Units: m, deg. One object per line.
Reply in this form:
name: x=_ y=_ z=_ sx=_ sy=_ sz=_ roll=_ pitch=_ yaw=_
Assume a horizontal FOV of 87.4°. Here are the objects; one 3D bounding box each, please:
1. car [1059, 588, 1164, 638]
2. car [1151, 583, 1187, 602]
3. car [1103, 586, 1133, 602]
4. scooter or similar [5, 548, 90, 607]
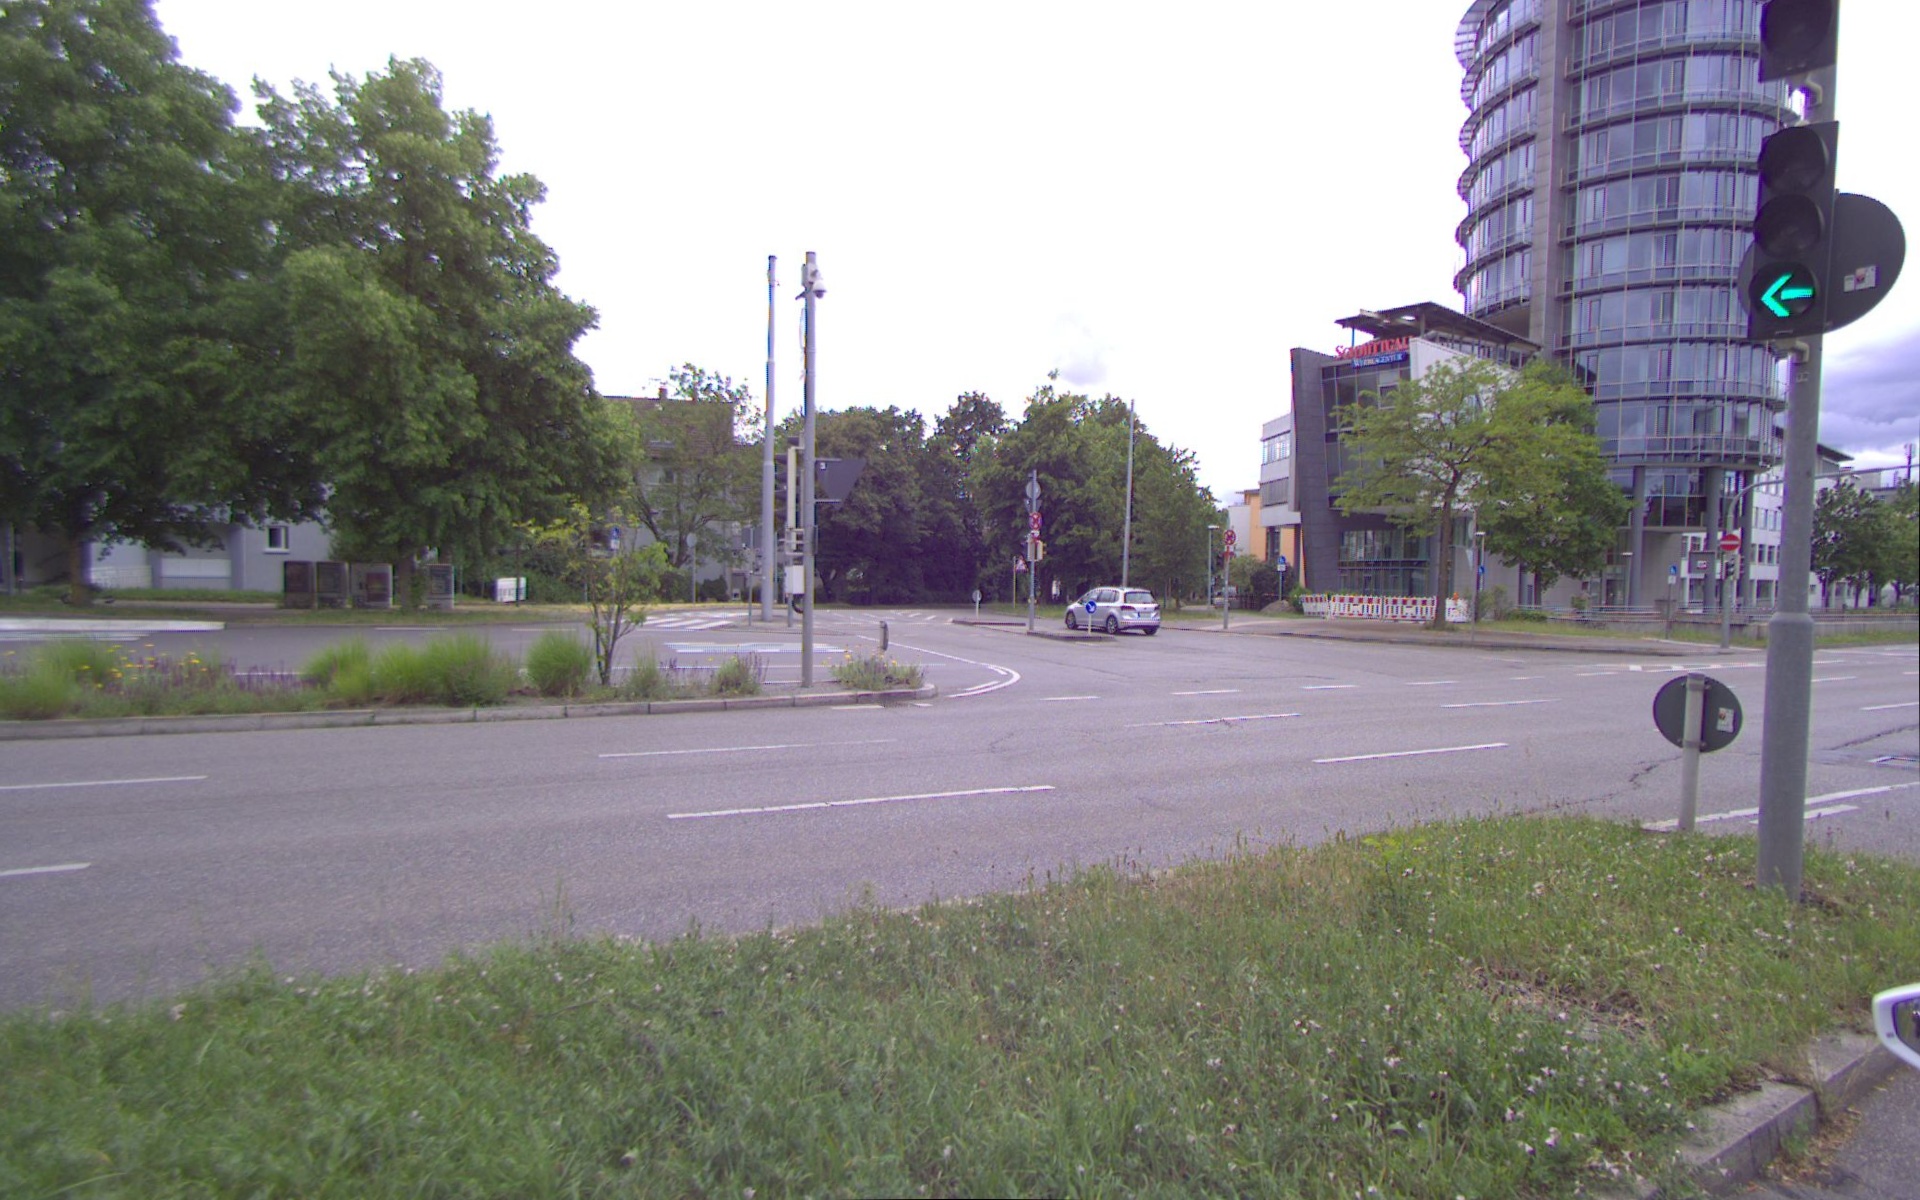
car: x=5.227 y=0.436 z=35.193 sx=1.536 sy=1.590 sz=3.969 roll=1 pitch=1 yaw=-29
car: x=10.309 y=-0.373 z=49.529 sx=1.684 sy=0.888 sz=0.776 roll=1 pitch=1 yaw=8
car: x=26.058 y=-0.967 z=165.735 sx=4.474 sy=2.370 sz=1.994 roll=2 pitch=0 yaw=-14
scooter or similar: x=-26.996 y=-0.658 z=29.745 sx=1.834 sy=1.686 sz=0.645 roll=1 pitch=1 yaw=-42
